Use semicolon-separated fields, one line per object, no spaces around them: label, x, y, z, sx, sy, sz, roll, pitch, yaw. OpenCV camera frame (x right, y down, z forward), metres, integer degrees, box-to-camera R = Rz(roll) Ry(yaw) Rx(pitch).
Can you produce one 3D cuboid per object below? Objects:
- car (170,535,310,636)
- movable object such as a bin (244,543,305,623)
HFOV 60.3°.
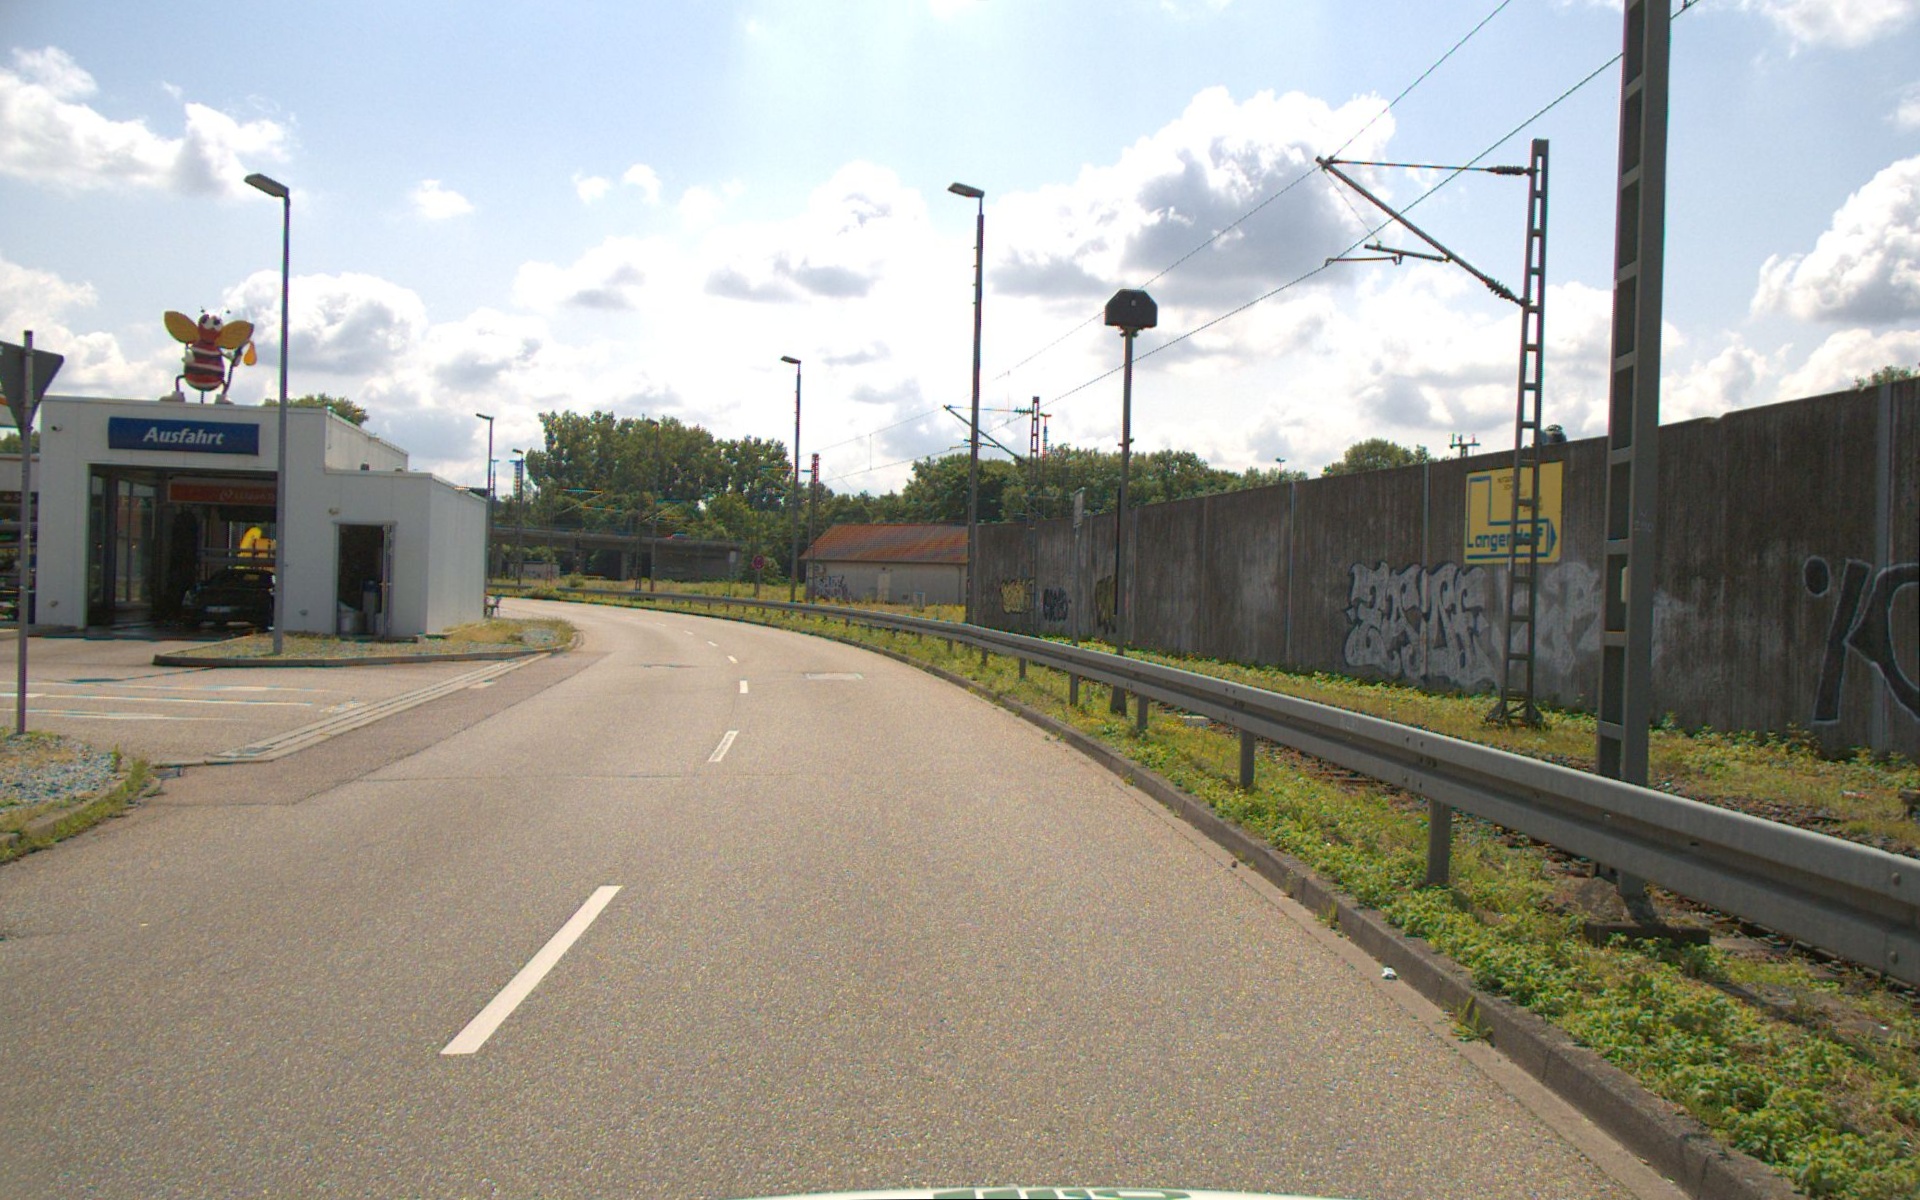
car;-16.361;-0.312;37.830;1.959;2.146;4.995;1;0;-12
movable object such as a bin;-19.700;-0.458;47.588;1.044;2.190;2.696;1;-1;-11
